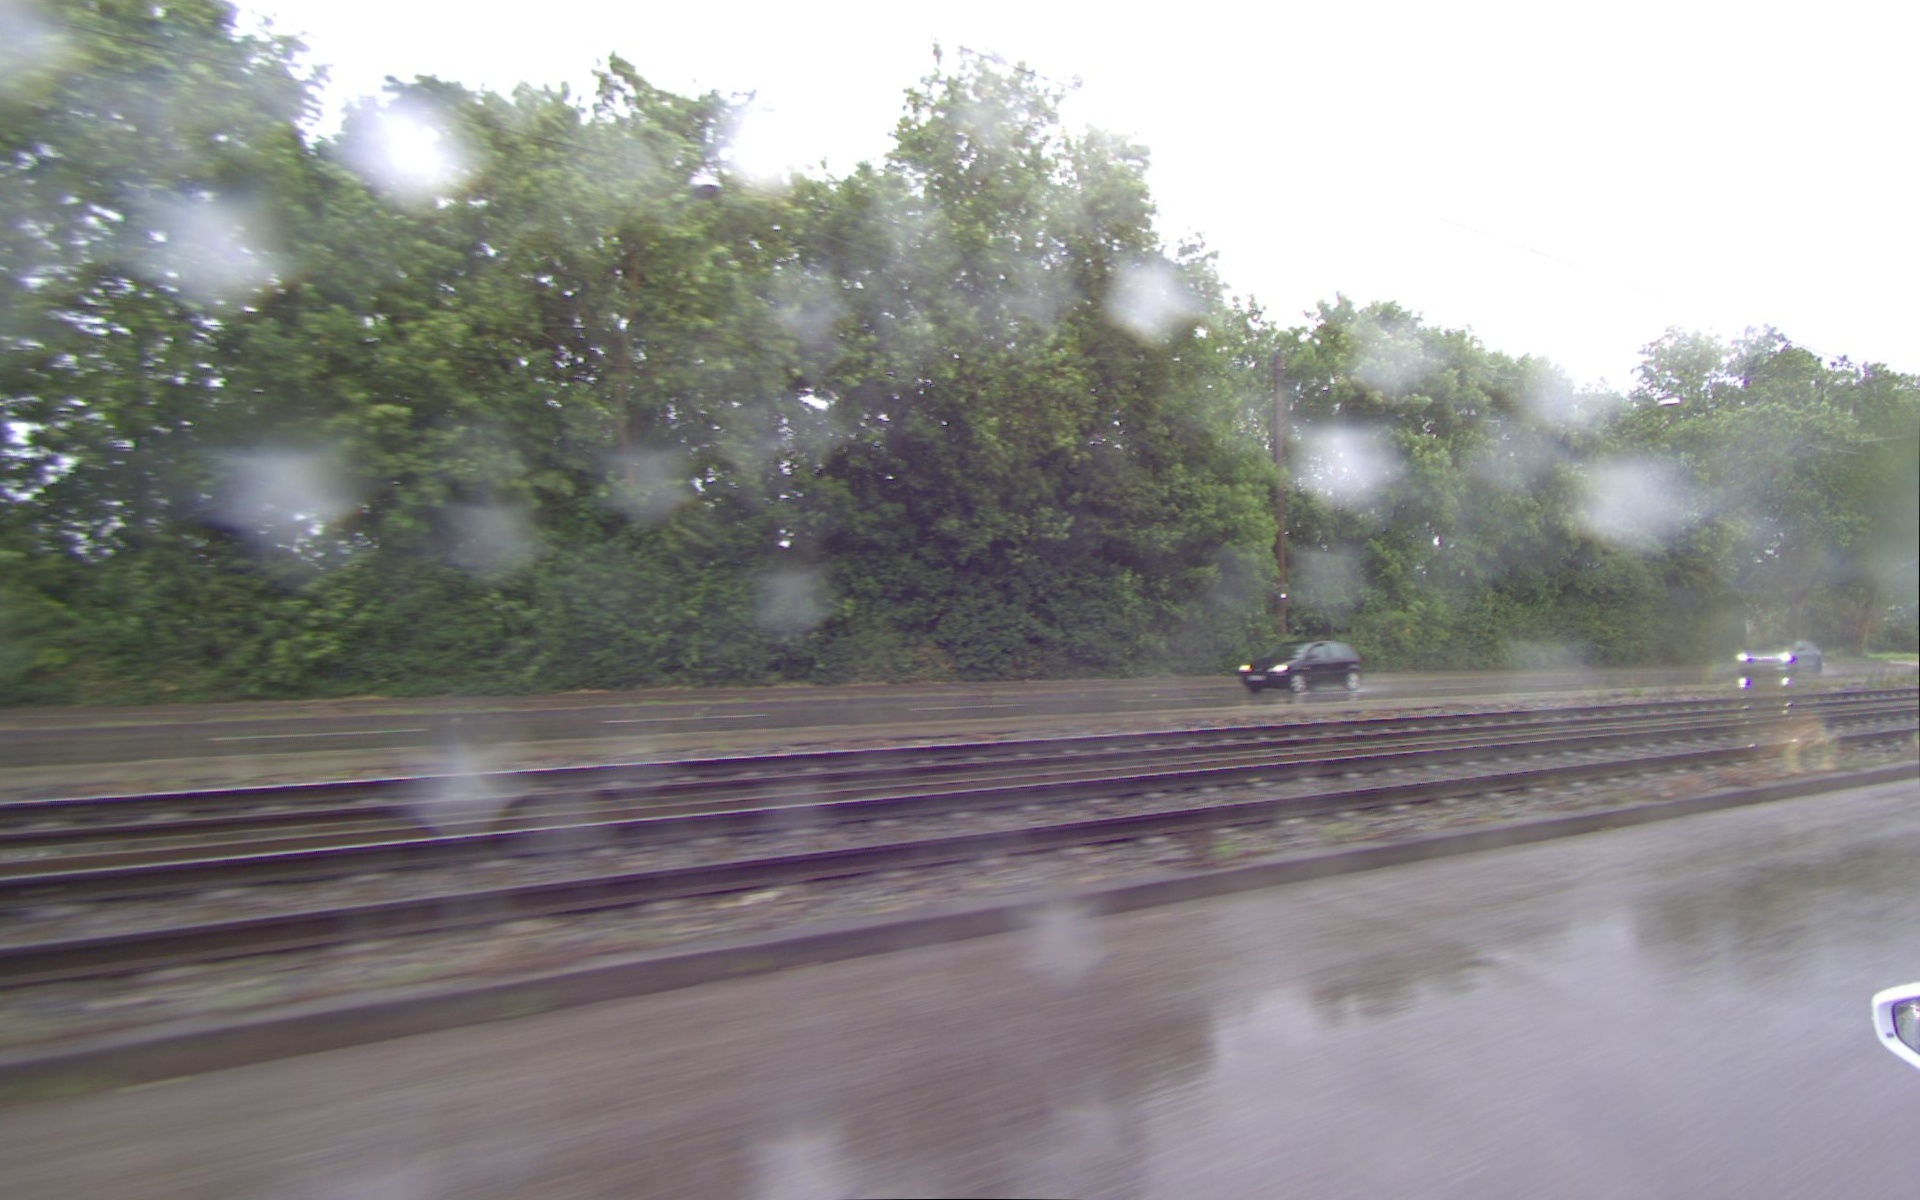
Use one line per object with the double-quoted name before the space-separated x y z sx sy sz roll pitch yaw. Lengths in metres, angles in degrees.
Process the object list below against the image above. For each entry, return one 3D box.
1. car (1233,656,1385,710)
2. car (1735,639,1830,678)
"car" 9.899 2.292 28.391 4.331 1.348 1.762 1 -2 -32
"car" 35.158 2.464 42.905 4.900 1.543 1.681 1 -2 -32
